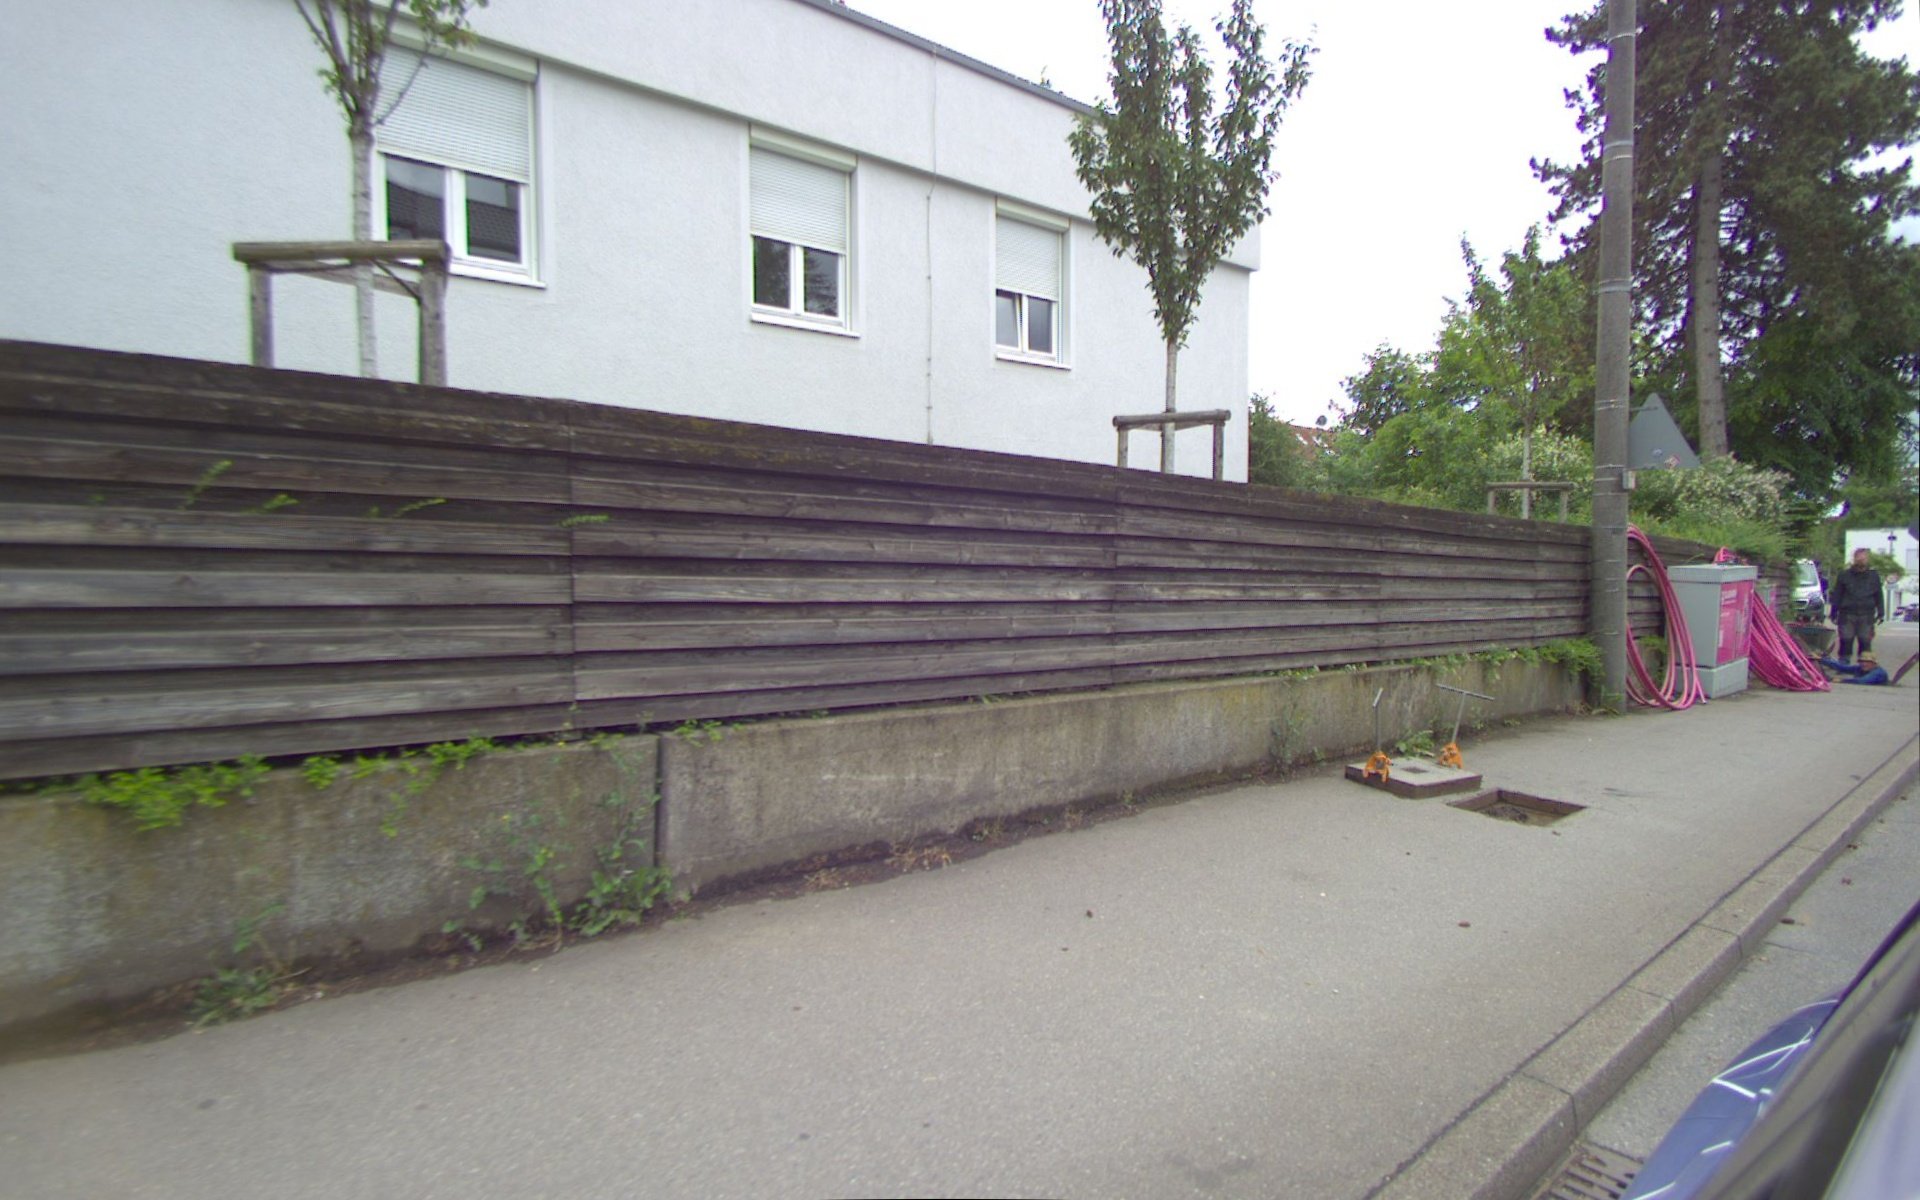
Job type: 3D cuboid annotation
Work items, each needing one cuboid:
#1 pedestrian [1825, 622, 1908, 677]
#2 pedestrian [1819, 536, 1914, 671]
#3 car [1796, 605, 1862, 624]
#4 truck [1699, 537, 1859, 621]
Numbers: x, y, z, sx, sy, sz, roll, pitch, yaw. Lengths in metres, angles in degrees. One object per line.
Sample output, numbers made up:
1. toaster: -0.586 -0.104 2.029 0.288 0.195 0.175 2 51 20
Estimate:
1. pedestrian: 12.788 0.689 14.292 0.636 0.705 0.584 1 2 8
2. pedestrian: 13.558 0.033 15.166 0.841 1.947 0.793 2 2 29
3. car: 84.202 1.407 98.136 4.390 1.577 1.983 3 2 25
4. truck: 26.227 -0.738 32.737 2.379 2.380 6.140 3 3 24
